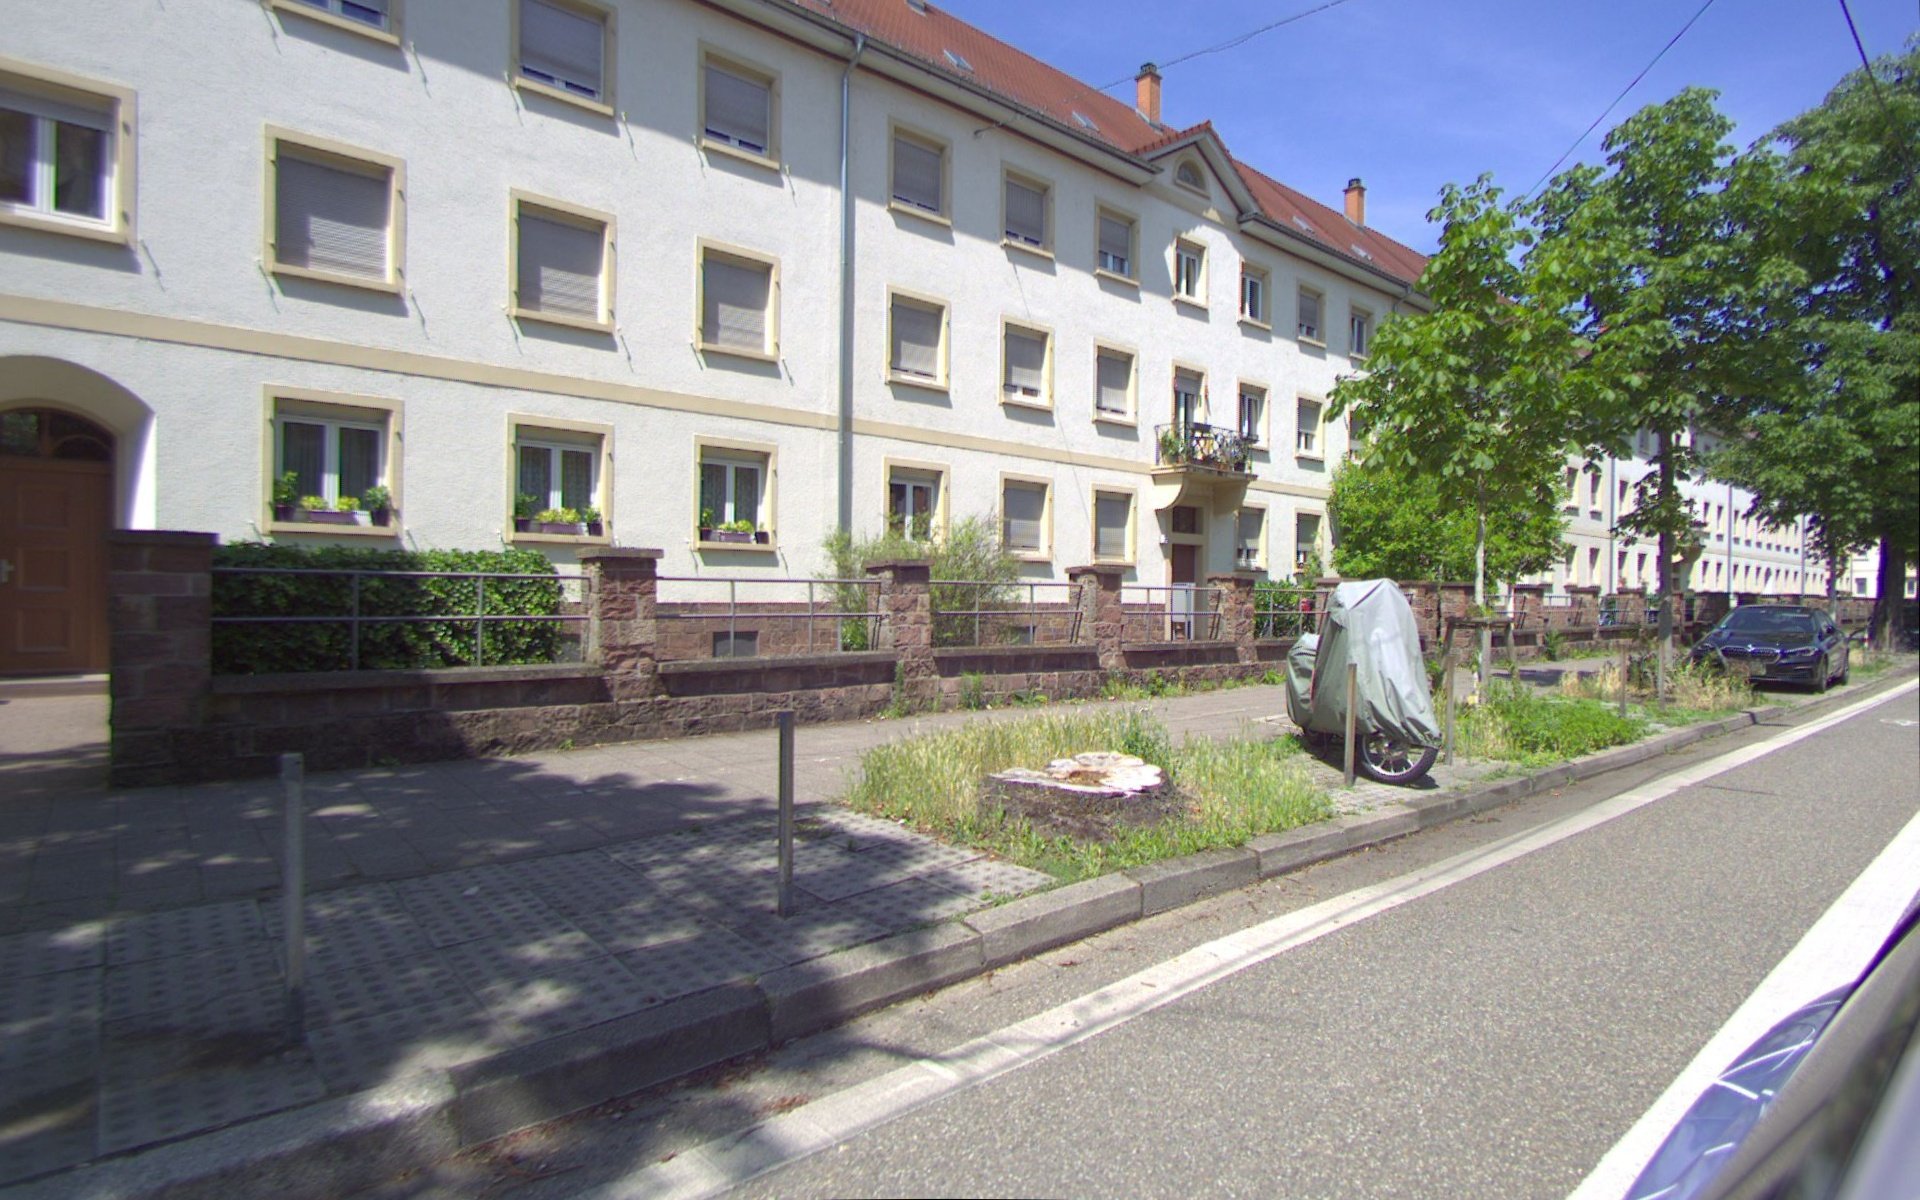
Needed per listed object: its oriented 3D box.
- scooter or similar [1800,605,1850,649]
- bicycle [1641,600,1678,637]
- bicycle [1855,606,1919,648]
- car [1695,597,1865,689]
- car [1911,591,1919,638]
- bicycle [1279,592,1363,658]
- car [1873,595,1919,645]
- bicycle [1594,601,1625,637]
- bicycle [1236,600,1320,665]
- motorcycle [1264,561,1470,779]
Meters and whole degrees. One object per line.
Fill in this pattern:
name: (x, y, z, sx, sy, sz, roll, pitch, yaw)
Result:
scooter or similar: (24.491, 0.750, 28.666, 1.222, 1.228, 0.381, 0, 0, -10)
bicycle: (21.207, 0.539, 30.655, 1.891, 1.092, 0.479, 0, 0, -41)
bicycle: (25.747, 0.735, 27.845, 1.652, 1.092, 0.597, 1, 0, 43)
car: (14.874, 0.686, 18.254, 4.780, 1.445, 1.771, 0, 0, -43)
car: (36.679, 0.547, 37.082, 4.789, 1.672, 1.952, 1, 0, -38)
bicycle: (6.332, 0.420, 17.713, 1.773, 1.116, 0.500, 0, 0, -38)
car: (29.161, 0.598, 30.789, 4.283, 1.437, 1.696, 1, 0, -43)
bicycle: (20.396, 0.574, 31.768, 0.478, 1.092, 1.894, 0, 0, 44)
bicycle: (5.692, 0.556, 18.066, 1.773, 1.116, 0.500, 0, 0, -38)
motorcycle: (3.279, 0.499, 8.447, 0.853, 1.560, 2.319, 0, 0, 2)
